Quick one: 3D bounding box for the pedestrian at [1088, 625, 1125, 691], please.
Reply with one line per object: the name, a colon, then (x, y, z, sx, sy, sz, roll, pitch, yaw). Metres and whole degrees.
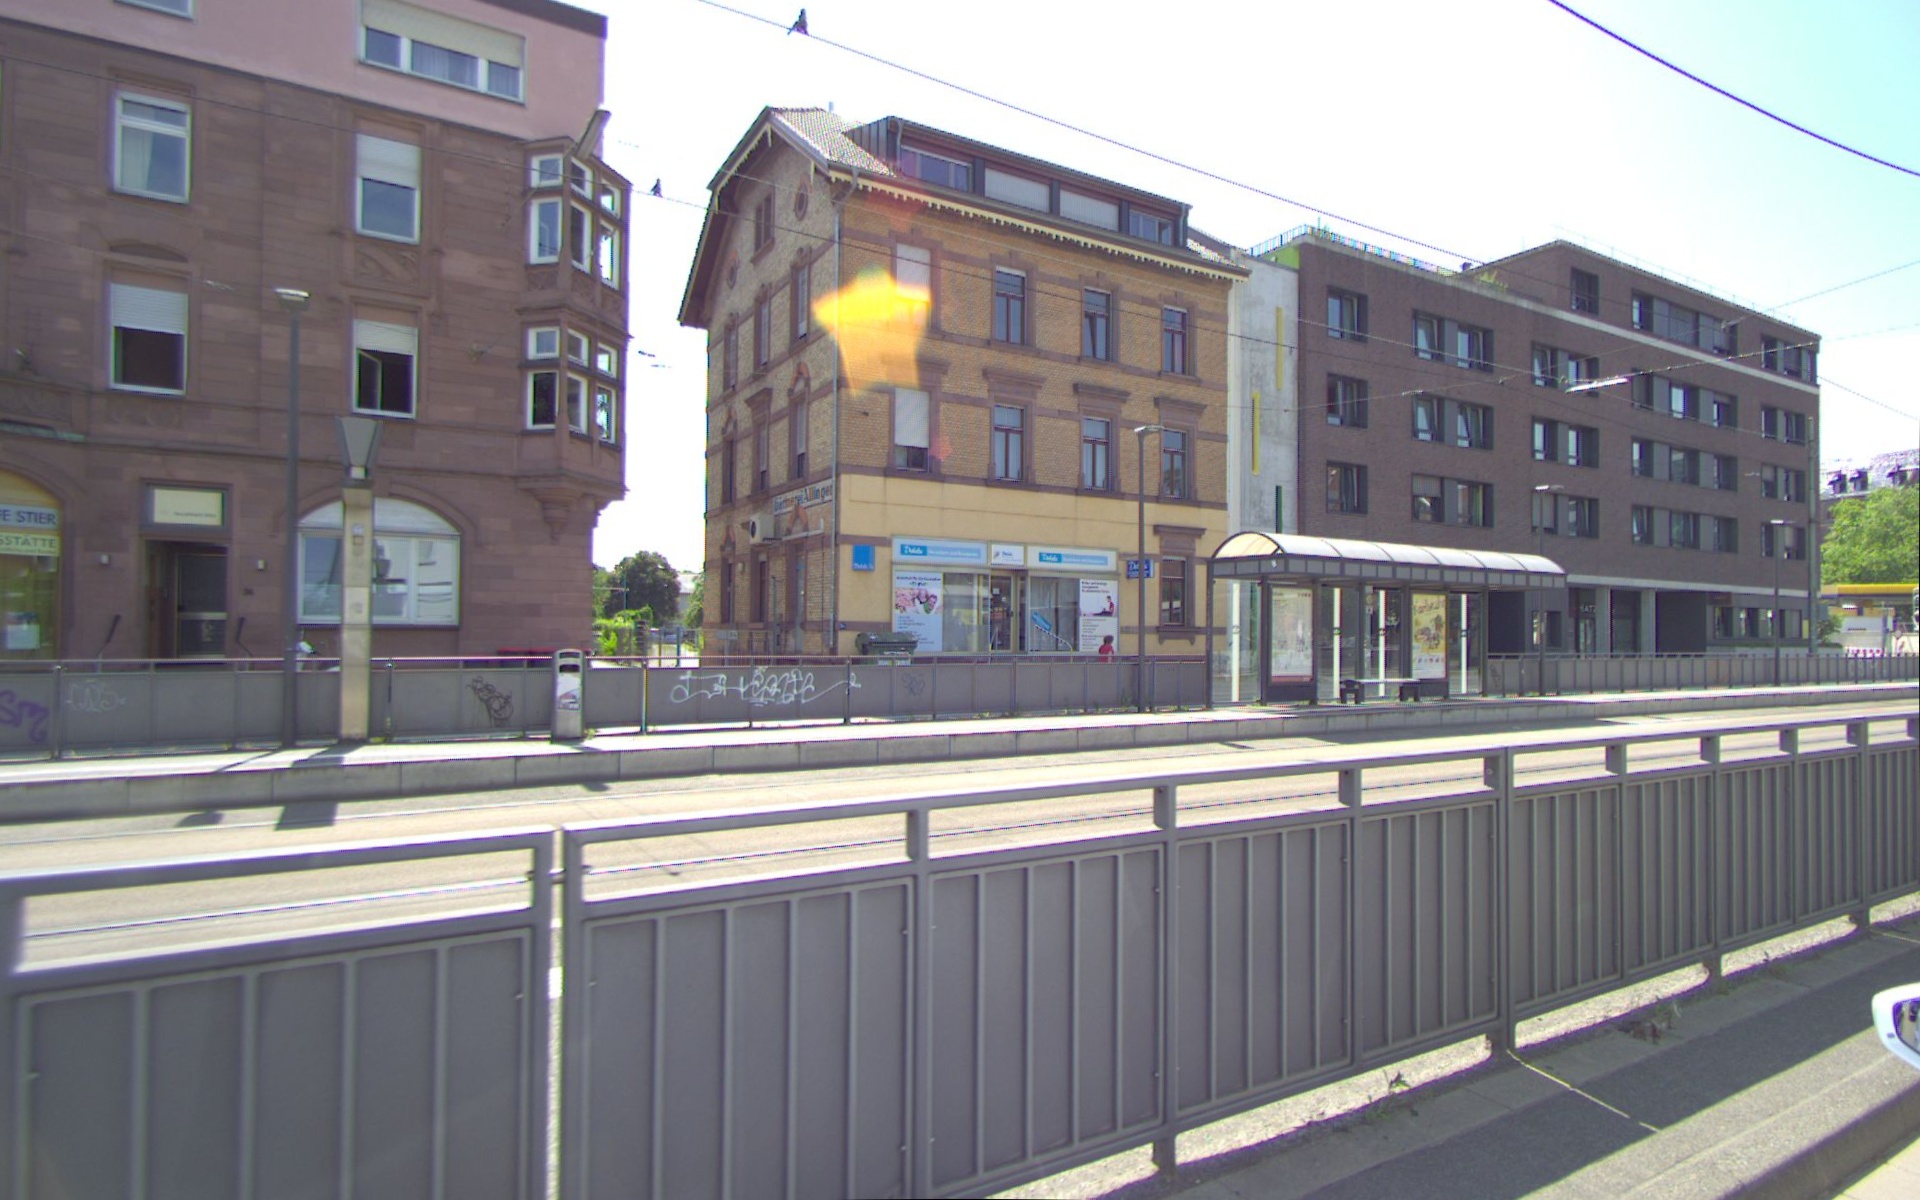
pedestrian: (3.710, 1.461, 25.477, 0.707, 1.617, 0.599, 2, -1, -32)
